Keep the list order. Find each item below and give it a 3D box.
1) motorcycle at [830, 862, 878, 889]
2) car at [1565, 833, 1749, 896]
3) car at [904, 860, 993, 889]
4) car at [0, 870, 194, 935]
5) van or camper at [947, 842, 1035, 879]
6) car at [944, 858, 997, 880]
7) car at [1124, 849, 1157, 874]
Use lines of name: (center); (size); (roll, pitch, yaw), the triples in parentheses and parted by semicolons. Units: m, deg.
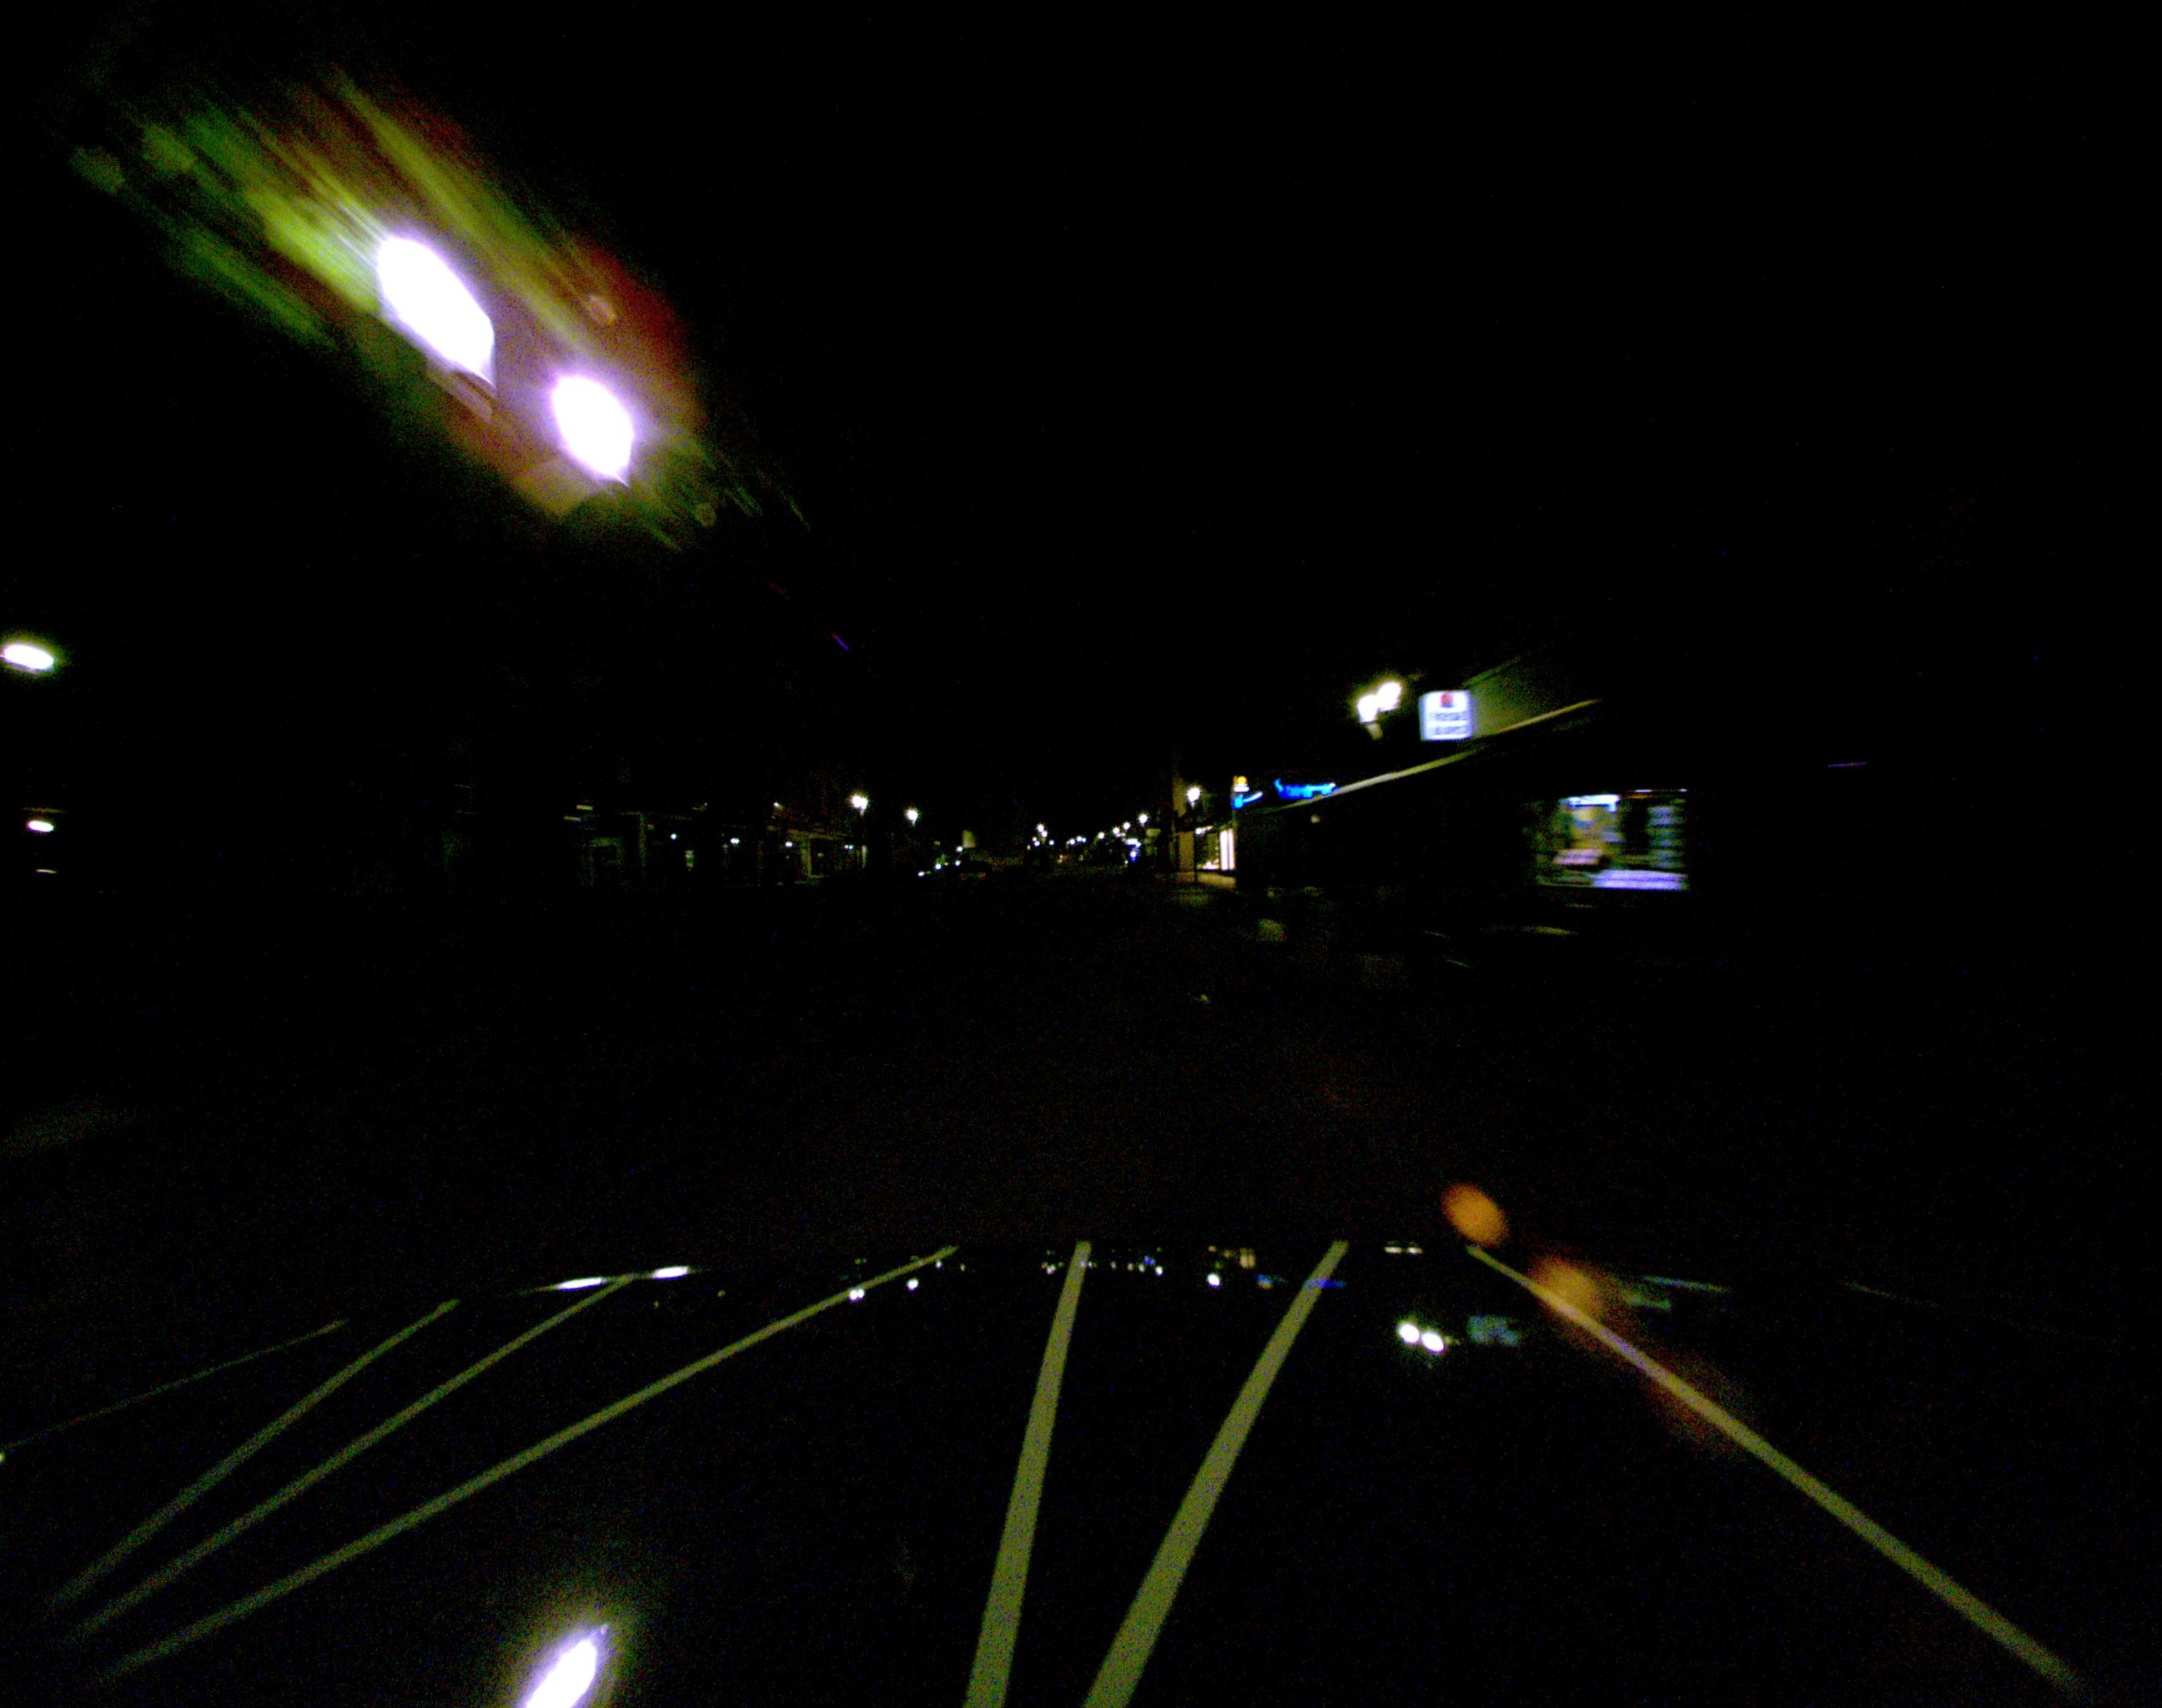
motorcycle: (-11.243, 1.068, 37.639); (2.226, 1.263, 0.531); (-1, 0, -42)
car: (15.487, 0.301, 20.549); (3.610, 1.511, 1.799); (-2, -1, -3)
car: (-7.278, 1.087, 41.861); (4.555, 1.447, 1.633); (-1, 0, -35)
car: (-25.943, 1.206, 19.540); (3.997, 1.580, 1.901); (0, -1, -1)
van or camper: (-6.615, 0.431, 56.167); (6.061, 2.518, 2.157); (-1, 0, -30)
car: (-7.675, 1.008, 52.711); (3.183, 1.447, 1.691); (-1, 0, -27)
car: (3.742, 0.472, 48.358); (1.655, 1.417, 4.014); (-4, 0, -1)
